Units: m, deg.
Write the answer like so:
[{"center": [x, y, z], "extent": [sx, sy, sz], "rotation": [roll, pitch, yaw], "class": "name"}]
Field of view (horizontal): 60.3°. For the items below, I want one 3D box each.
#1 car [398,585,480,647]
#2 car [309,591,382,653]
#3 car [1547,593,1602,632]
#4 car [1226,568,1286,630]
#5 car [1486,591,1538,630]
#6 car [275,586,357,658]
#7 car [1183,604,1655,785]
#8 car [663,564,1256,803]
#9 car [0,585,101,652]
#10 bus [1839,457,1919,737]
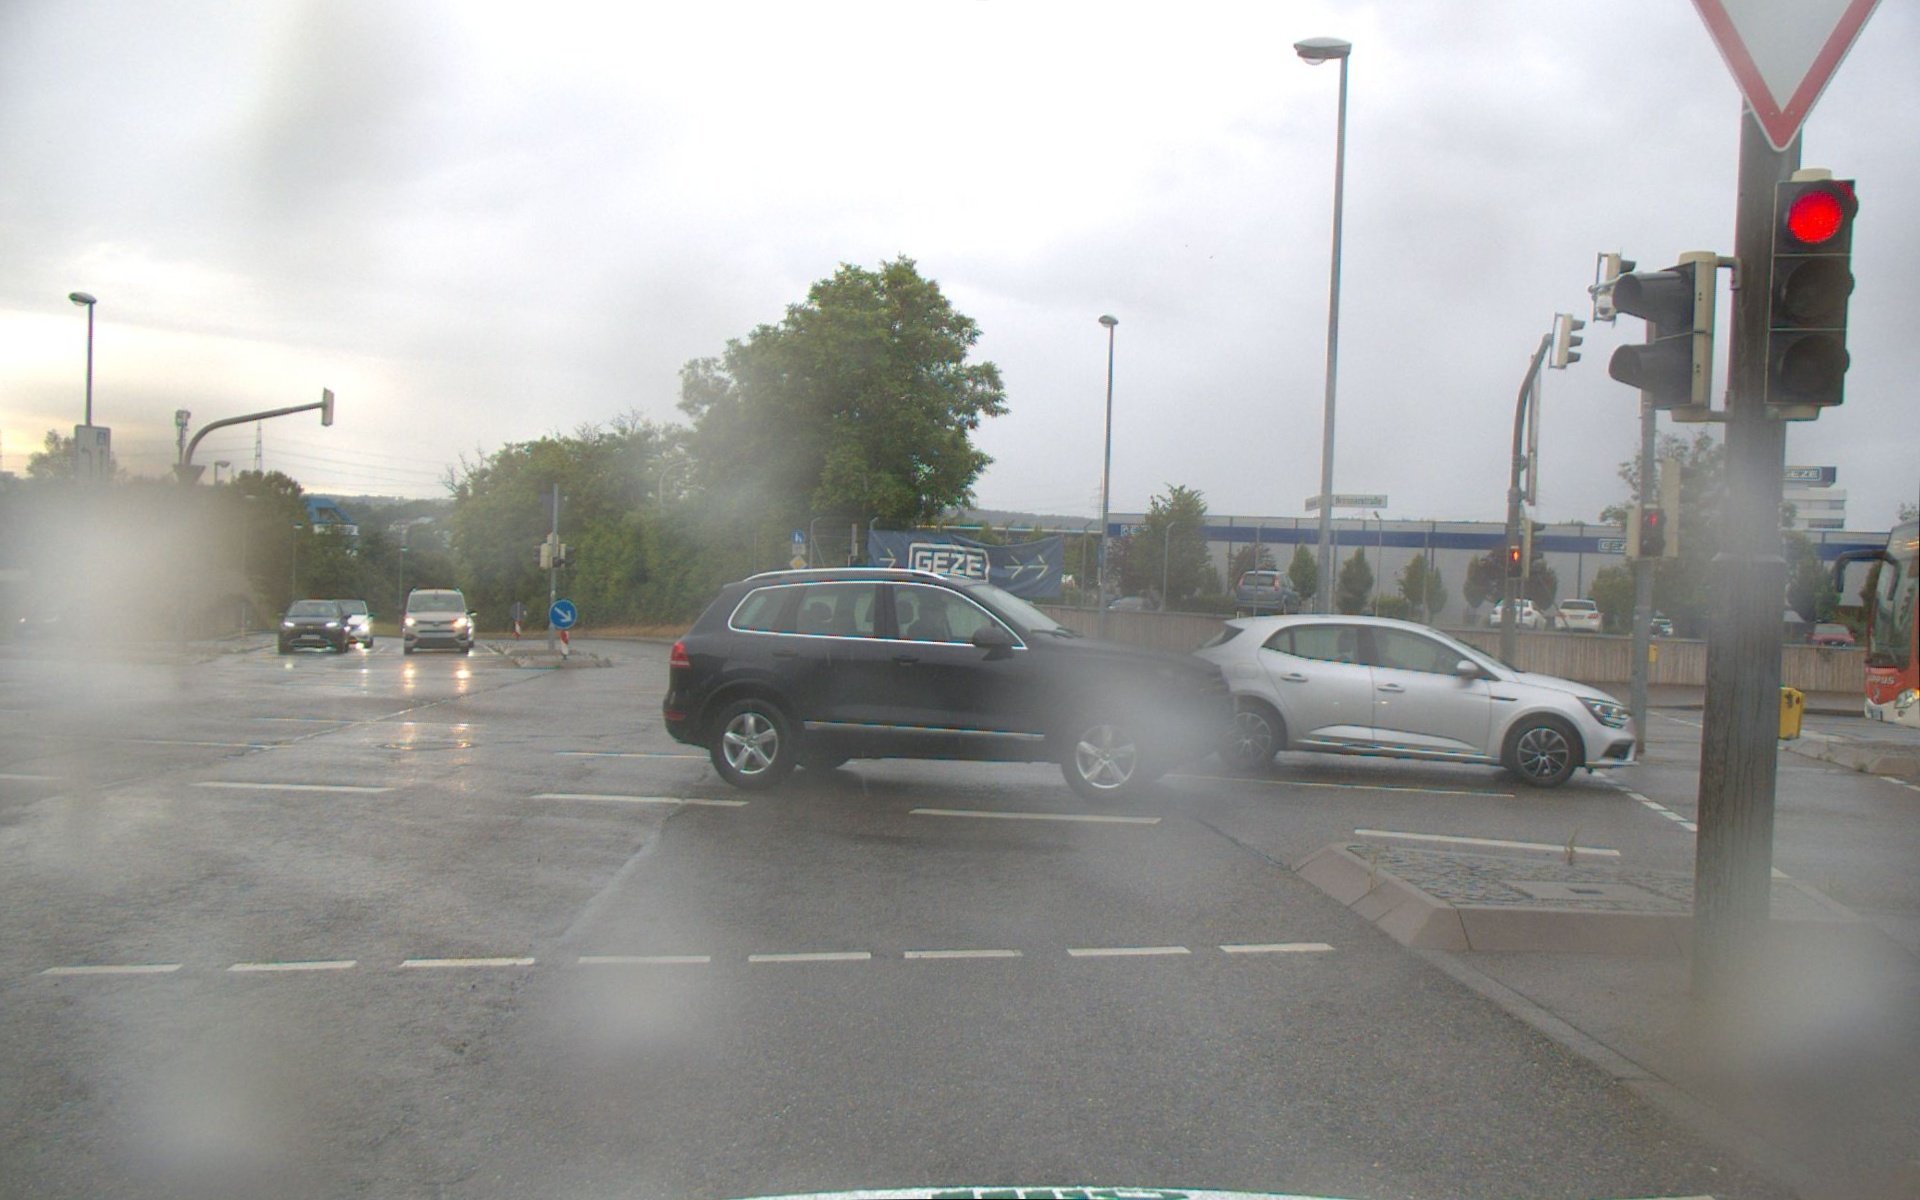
[{"center": [-14.874, 0.430, 47.397], "extent": [1.960, 1.646, 3.986], "rotation": [1, 0, -14], "class": "car"}, {"center": [-20.416, 0.708, 55.050], "extent": [1.962, 1.928, 3.982], "rotation": [1, 0, -17], "class": "car"}, {"center": [25.245, 0.488, 68.073], "extent": [1.952, 1.504, 4.001], "rotation": [2, 0, 19], "class": "car"}, {"center": [10.383, -0.040, 57.857], "extent": [1.951, 2.049, 4.003], "rotation": [1, 0, 11], "class": "car"}, {"center": [22.949, 0.419, 68.662], "extent": [1.952, 1.504, 4.001], "rotation": [2, 0, 19], "class": "car"}, {"center": [-18.623, 0.605, 47.981], "extent": [1.963, 1.928, 3.979], "rotation": [1, 0, -19], "class": "car"}, {"center": [4.279, 0.820, 15.787], "extent": [4.051, 1.441, 1.929], "rotation": [2, 0, 14], "class": "car"}, {"center": [0.073, 0.591, 13.546], "extent": [4.498, 1.732, 2.002], "rotation": [0, 0, 14], "class": "car"}, {"center": [-28.139, 0.527, 51.256], "extent": [1.962, 1.928, 3.981], "rotation": [1, 0, -18], "class": "car"}, {"center": [17.605, 0.231, 19.791], "extent": [12.020, 3.379, 3.076], "rotation": [3, 1, 17], "class": "bus"}]
